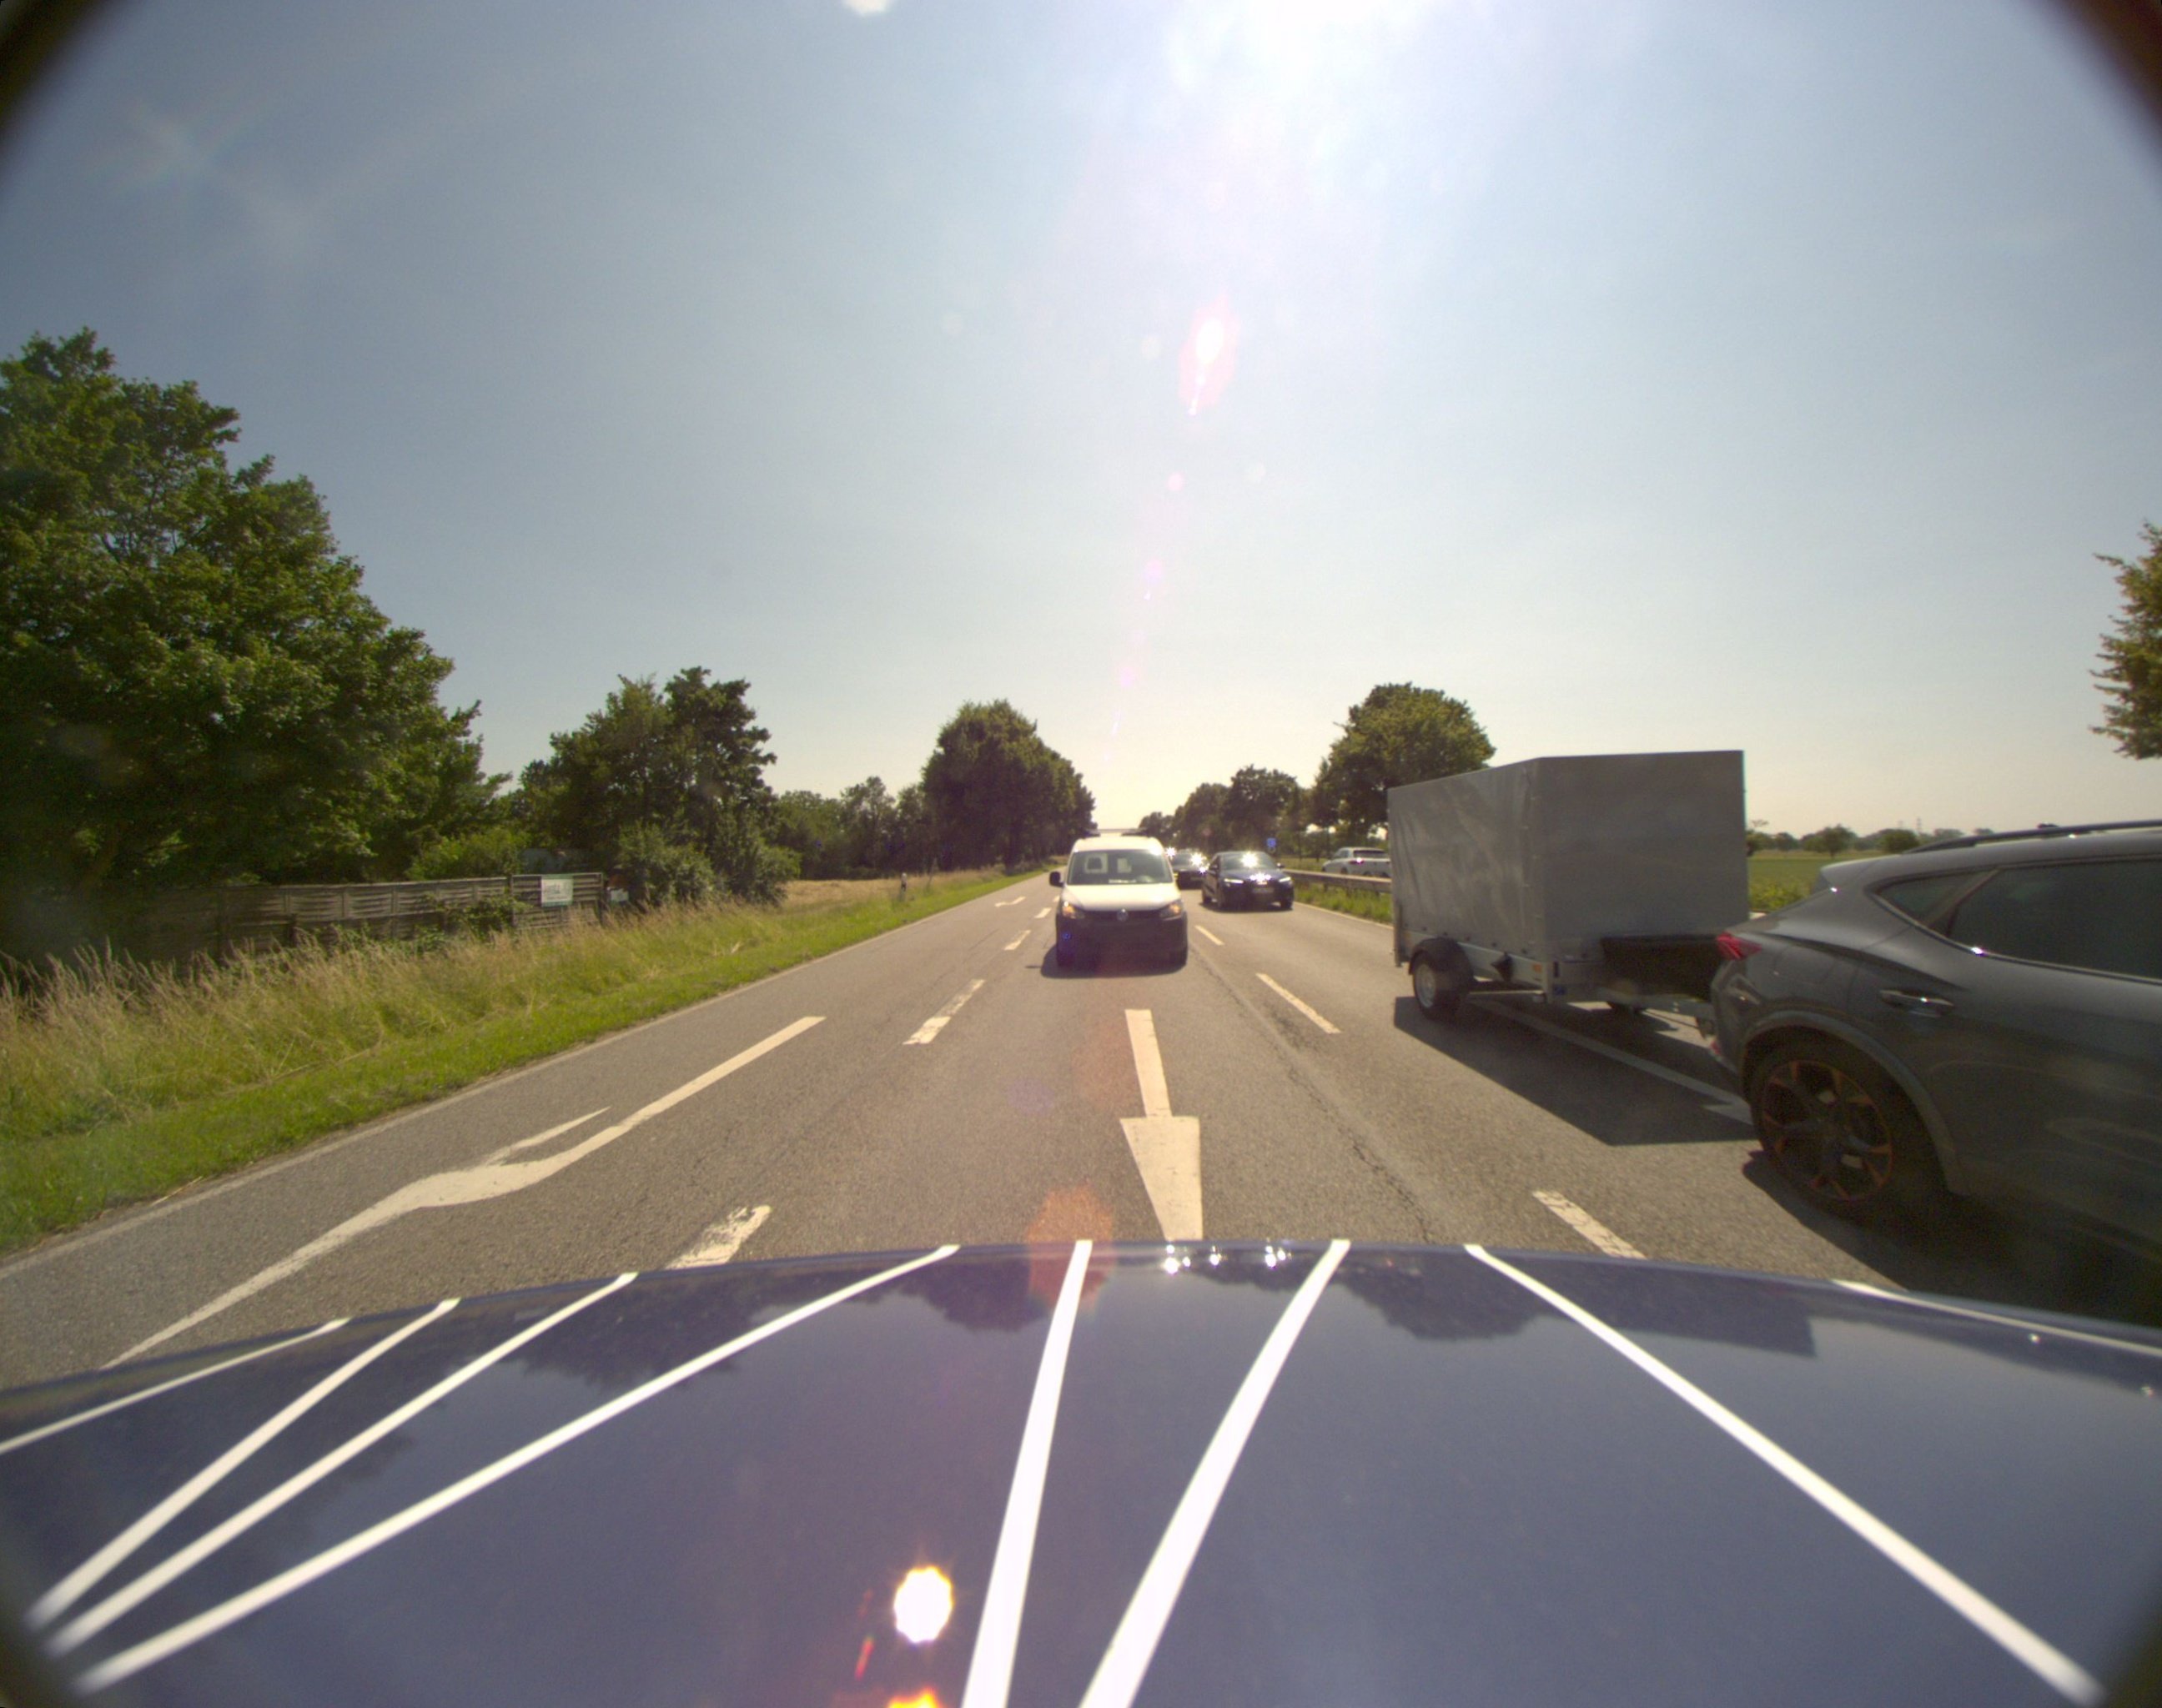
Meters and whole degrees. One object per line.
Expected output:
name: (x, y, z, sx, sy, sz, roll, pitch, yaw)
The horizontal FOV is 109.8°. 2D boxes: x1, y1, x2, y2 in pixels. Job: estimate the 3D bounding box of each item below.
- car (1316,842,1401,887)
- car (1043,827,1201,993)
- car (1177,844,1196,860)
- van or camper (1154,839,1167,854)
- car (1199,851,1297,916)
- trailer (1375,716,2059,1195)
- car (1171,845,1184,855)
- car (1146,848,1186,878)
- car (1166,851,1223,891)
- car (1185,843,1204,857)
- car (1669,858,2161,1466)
car: (10.589, 0.376, 29.317, 1.750, 1.608, 4.135, -1, 0, 0)
car: (0.546, 0.635, 11.203, 1.777, 1.863, 4.581, -3, 1, 2)
car: (11.593, -0.228, 83.909, 1.749, 1.629, 4.136, -1, 0, 3)
van or camper: (17.616, -1.636, 168.895, 2.269, 3.081, 5.695, -1, 0, 0)
car: (4.234, 0.694, 19.832, 1.721, 1.456, 4.030, -2, 1, 1)
trailer: (3.742, 0.461, 5.581, 1.504, 2.160, 4.174, -2, 0, 0)
car: (17.517, -0.690, 138.423, 1.862, 1.845, 4.696, 0, 0, 0)
car: (4.610, 0.459, 41.651, 1.860, 1.507, 4.100, -2, 1, 2)
car: (4.460, 0.633, 30.436, 1.744, 1.372, 4.455, -2, 1, 2)
car: (16.311, -0.548, 109.016, 1.998, 1.919, 5.015, -1, 0, 0)
car: (3.634, 0.809, 1.410, 1.750, 1.494, 4.363, -2, 0, 1)
